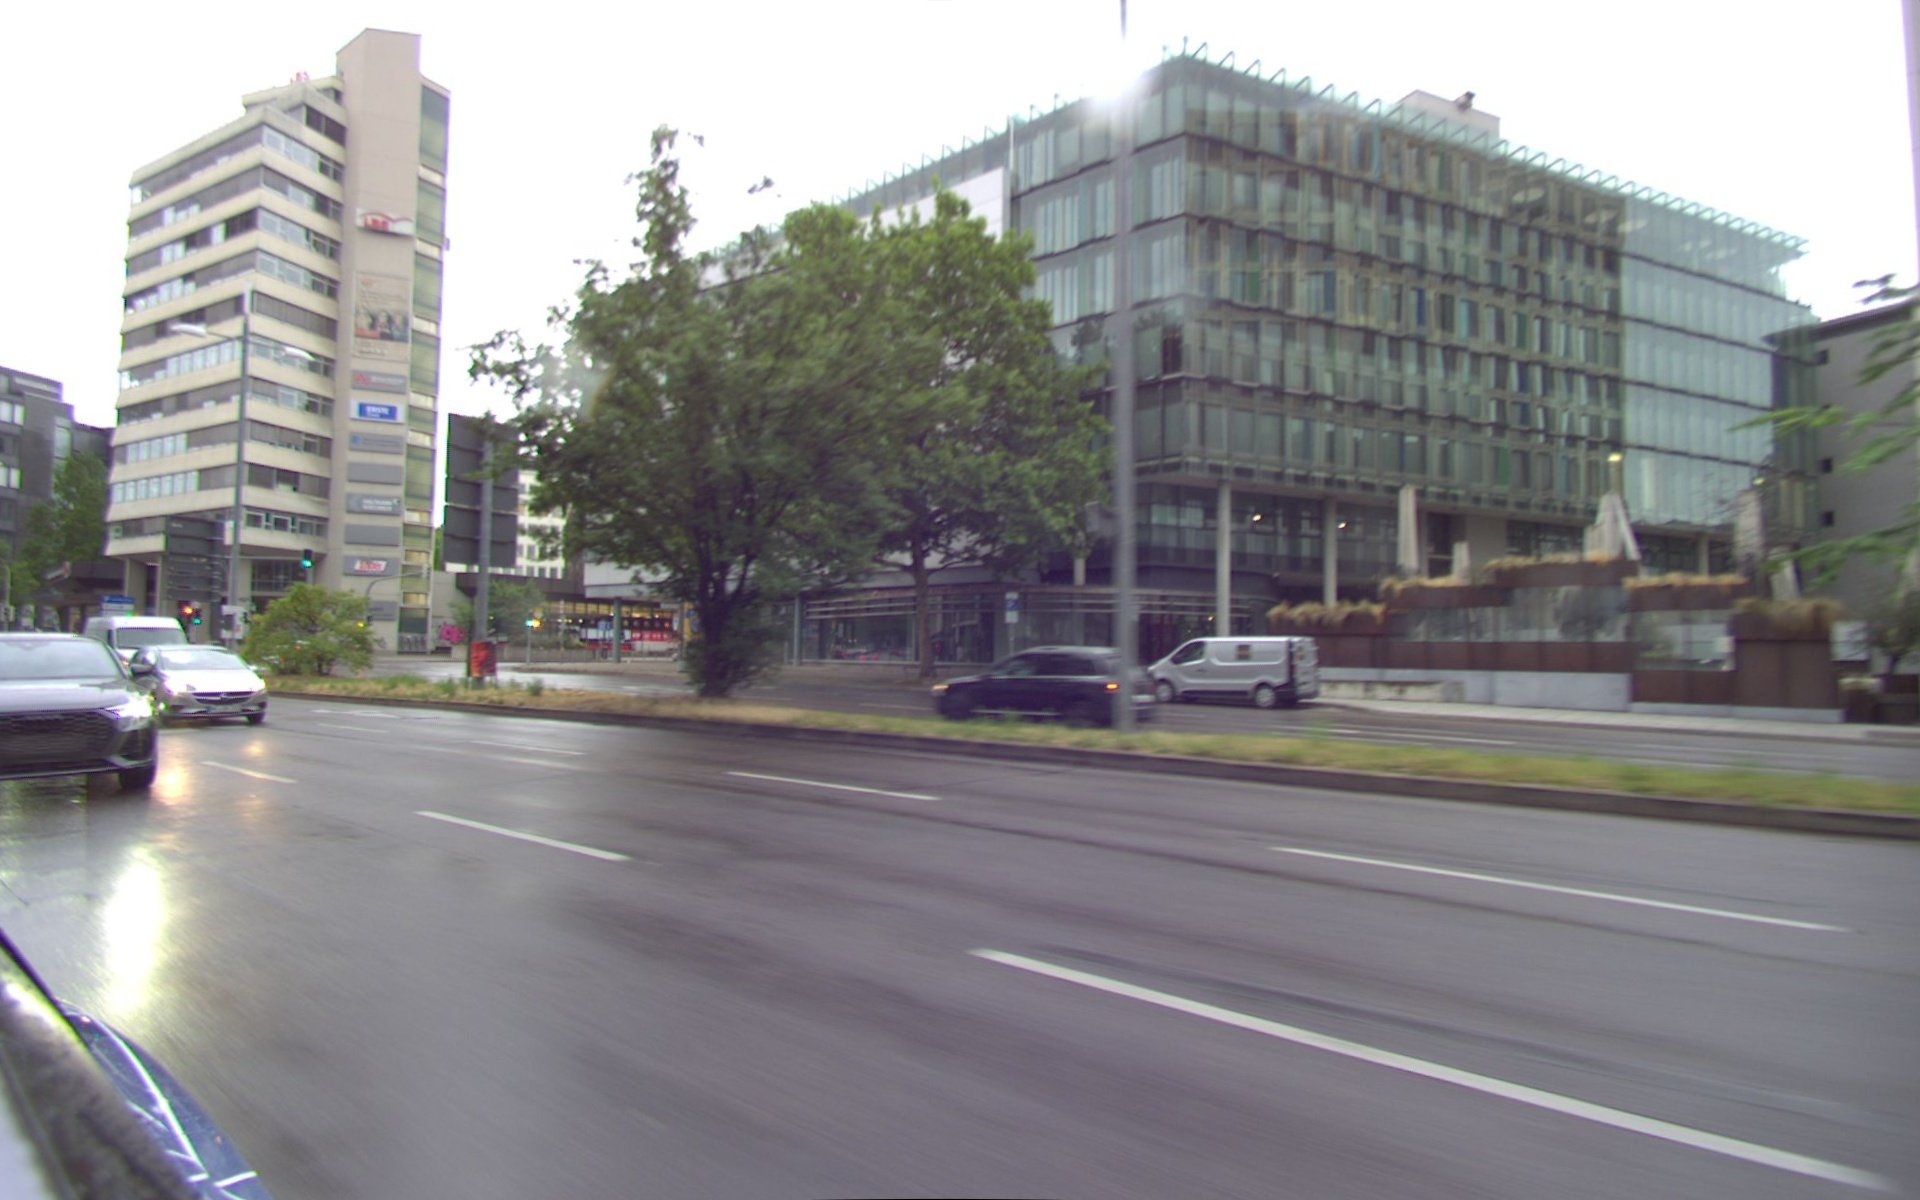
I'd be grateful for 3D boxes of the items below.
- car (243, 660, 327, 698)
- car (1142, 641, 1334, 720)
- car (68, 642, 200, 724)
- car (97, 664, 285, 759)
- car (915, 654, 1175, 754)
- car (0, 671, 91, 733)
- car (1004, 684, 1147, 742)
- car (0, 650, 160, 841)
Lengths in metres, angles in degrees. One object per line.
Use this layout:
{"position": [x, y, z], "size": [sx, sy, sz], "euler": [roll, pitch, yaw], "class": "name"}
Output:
{"position": [-29.332, 3.382, 43.958], "size": [3.963, 1.475, 1.736], "euler": [-1, -3, 36], "class": "car"}
{"position": [7.856, 2.209, 28.892], "size": [4.911, 2.029, 1.973], "euler": [-1, -3, 40], "class": "car"}
{"position": [-26.928, 2.589, 32.919], "size": [5.714, 2.403, 2.231], "euler": [-1, -3, 40], "class": "car"}
{"position": [-14.637, 2.024, 19.208], "size": [4.120, 1.490, 1.753], "euler": [-1, -3, 37], "class": "car"}
{"position": [1.595, 1.941, 19.889], "size": [4.864, 1.644, 1.809], "euler": [-1, -3, 35], "class": "car"}
{"position": [-25.289, 2.719, 27.684], "size": [4.242, 1.412, 1.878], "euler": [-2, -3, 44], "class": "car"}
{"position": [3.653, 3.560, 32.388], "size": [4.283, 1.541, 1.779], "euler": [-1, -3, 40], "class": "car"}
{"position": [-9.539, 1.325, 10.398], "size": [1.775, 1.564, 4.394], "euler": [2, -3, -42], "class": "car"}
